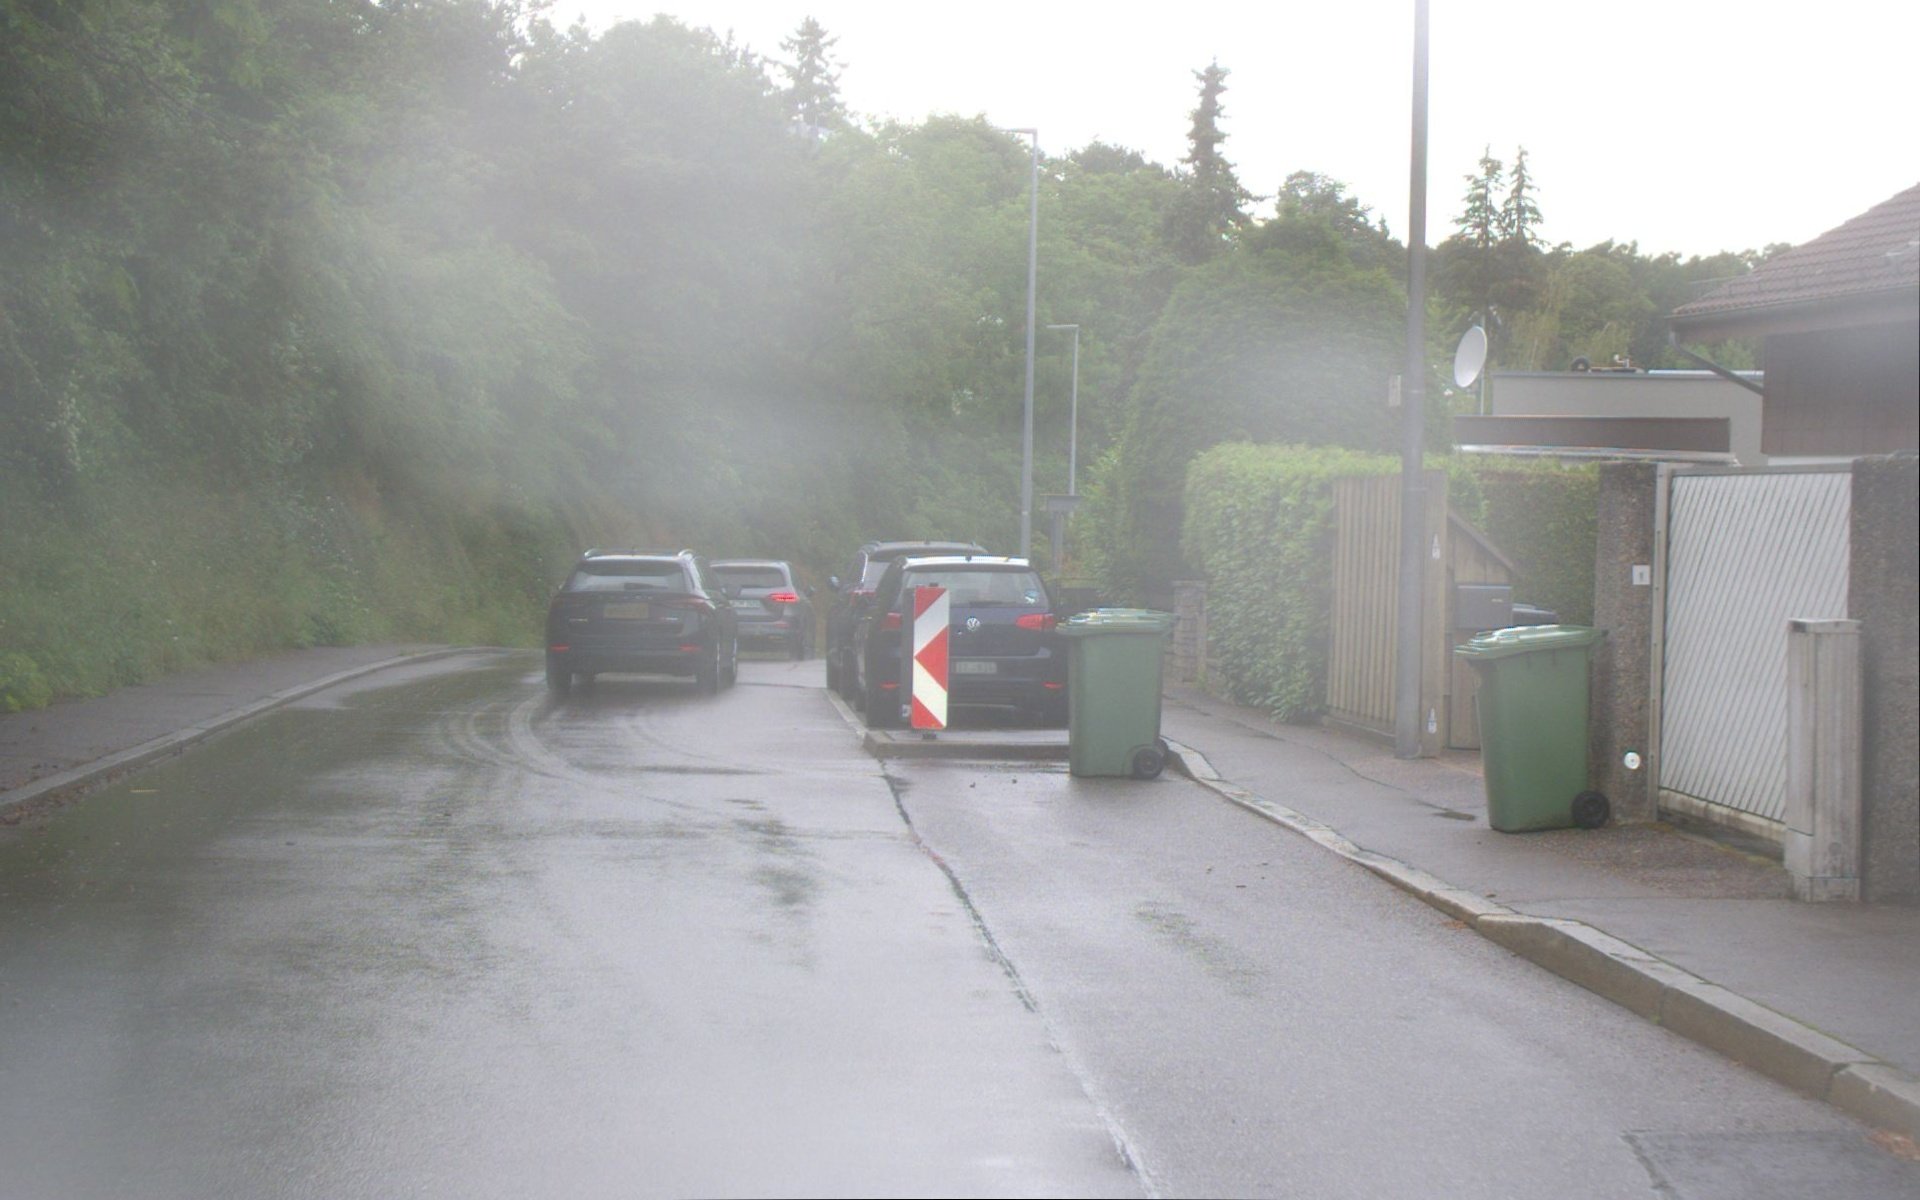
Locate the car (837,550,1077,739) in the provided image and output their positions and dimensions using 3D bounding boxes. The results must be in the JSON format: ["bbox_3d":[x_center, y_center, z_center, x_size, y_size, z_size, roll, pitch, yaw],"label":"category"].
[{"bbox_3d":[-0.097,0.335,30.242,1.755,1.457,4.302,2,1,-4],"label":"car"}]

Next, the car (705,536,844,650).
[{"bbox_3d":[-2.846,-0.142,52.856,1.993,1.600,4.410,2,1,-3],"label":"car"}]

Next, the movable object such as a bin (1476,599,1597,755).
[{"bbox_3d":[4.322,0.572,25.749,0.748,1.100,0.819,4,0,15],"label":"movable object such as a bin"}]

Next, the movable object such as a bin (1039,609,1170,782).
[{"bbox_3d":[0.949,0.625,22.678,0.715,1.092,0.656,2,1,-8],"label":"movable object such as a bin"}]

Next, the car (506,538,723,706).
[{"bbox_3d":[-3.555,0.281,36.003,1.868,1.507,4.092,3,-3,-1],"label":"car"}]

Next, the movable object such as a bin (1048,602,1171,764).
[{"bbox_3d":[1.031,0.569,23.833,0.729,1.075,0.661,2,1,-6],"label":"movable object such as a bin"}]

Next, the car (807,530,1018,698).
[{"bbox_3d":[-0.561,0.088,35.546,1.875,1.586,4.480,1,1,-4],"label":"car"}]

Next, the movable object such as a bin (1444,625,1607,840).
[{"bbox_3d":[2.981,0.690,18.160,0.739,1.085,0.600,-1,1,-1],"label":"movable object such as a bin"}]
